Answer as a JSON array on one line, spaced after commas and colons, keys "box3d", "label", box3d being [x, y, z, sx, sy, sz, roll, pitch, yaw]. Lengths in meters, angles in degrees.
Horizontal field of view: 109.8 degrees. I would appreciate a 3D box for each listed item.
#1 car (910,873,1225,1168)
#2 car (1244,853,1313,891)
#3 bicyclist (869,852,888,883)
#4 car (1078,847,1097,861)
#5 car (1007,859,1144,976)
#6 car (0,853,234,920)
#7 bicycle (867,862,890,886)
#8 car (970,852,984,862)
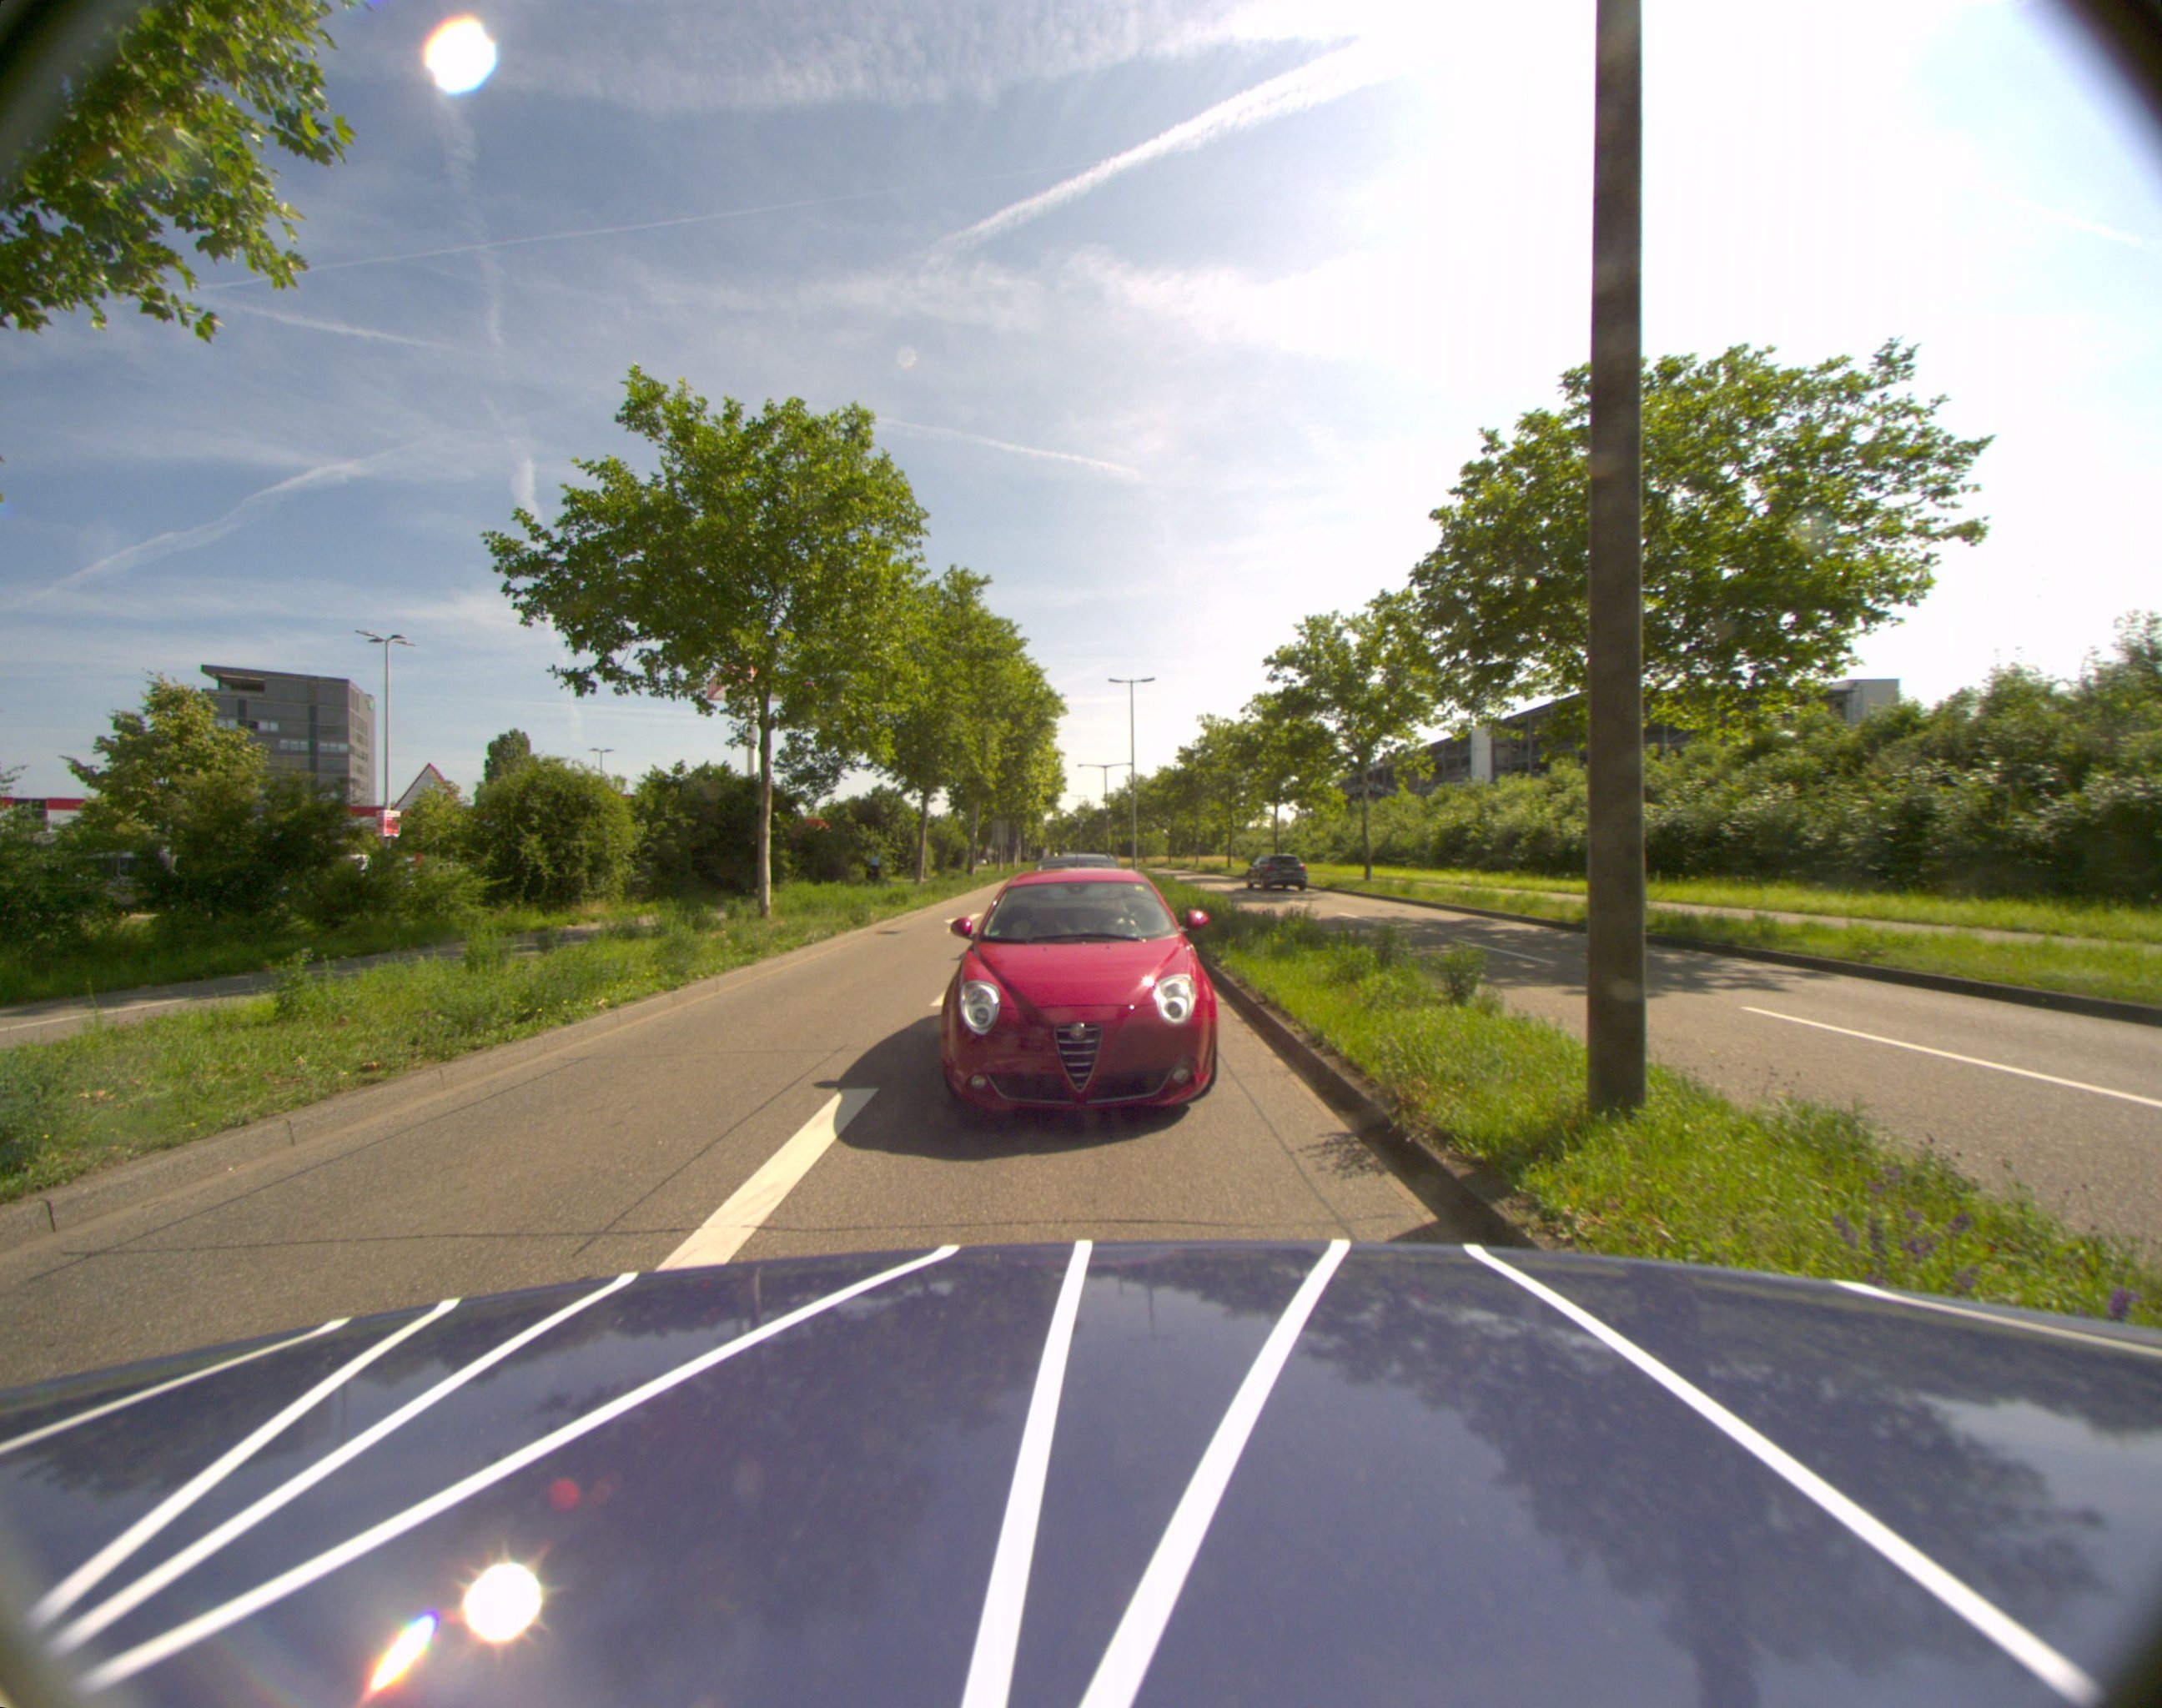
[{"box3d": [-0.046, 0.952, 6.068, 1.658, 1.430, 3.908, -2, 0, 1], "label": "car"}, {"box3d": [8.278, 0.713, 32.206, 1.868, 1.459, 3.937, -1, 1, 0], "label": "car"}, {"box3d": [-10.806, 0.693, 40.557, 0.687, 1.622, 1.002, 0, 1, 1], "label": "bicyclist"}, {"box3d": [1.041, -0.005, 132.397, 2.066, 2.396, 5.532, 0, 0, -13], "label": "car"}, {"box3d": [-0.047, 0.898, 12.552, 1.874, 1.536, 4.081, -1, 0, 1], "label": "car"}, {"box3d": [-25.080, 0.773, 19.692, 3.870, 1.576, 1.844, -1, 1, -38], "label": "car"}, {"box3d": [-10.806, 1.055, 40.546, 0.687, 1.230, 1.934, 0, 1, 1], "label": "bicycle"}, {"box3d": [-25.040, 0.717, 182.291, 2.067, 2.396, 5.995, 0, 0, -20], "label": "car"}]
